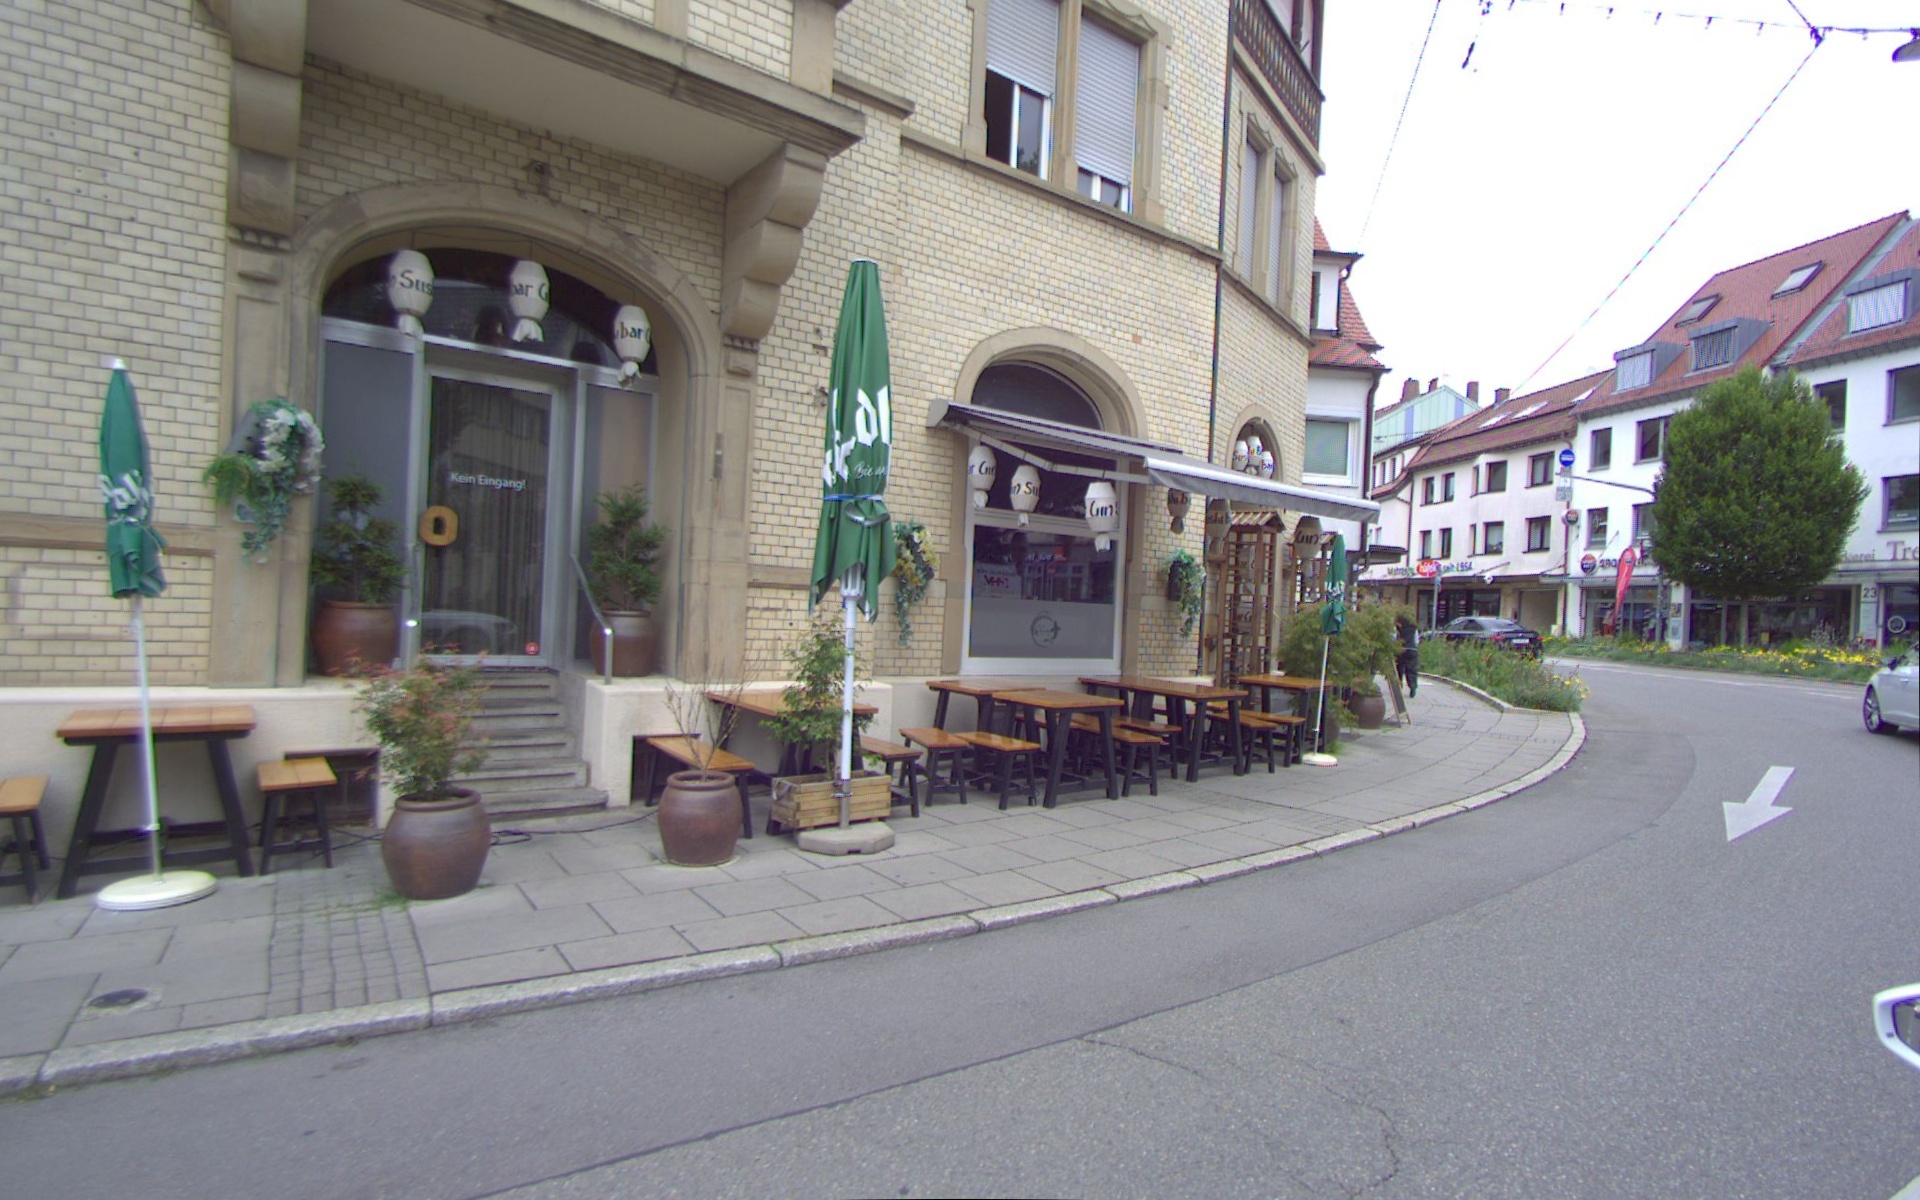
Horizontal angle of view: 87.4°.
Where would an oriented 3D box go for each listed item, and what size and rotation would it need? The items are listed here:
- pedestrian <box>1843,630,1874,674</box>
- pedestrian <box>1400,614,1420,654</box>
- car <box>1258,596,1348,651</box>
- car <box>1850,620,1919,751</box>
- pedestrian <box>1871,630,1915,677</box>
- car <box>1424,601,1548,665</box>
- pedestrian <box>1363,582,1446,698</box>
[{"bbox_3d":[27.618,1.595,30.880,0.493,1.288,0.491,2,0,-11],"label":"pedestrian"},{"bbox_3d":[23.221,1.766,51.807,0.657,2.040,0.634,2,0,-7],"label":"pedestrian"},{"bbox_3d":[12.755,0.833,37.584,1.961,1.879,4.000,2,0,0],"label":"car"},{"bbox_3d":[12.508,1.054,12.144,1.816,1.453,3.992,2,1,30],"label":"car"},{"bbox_3d":[27.758,1.592,29.891,0.751,1.335,0.567,4,0,-11],"label":"pedestrian"},{"bbox_3d":[15.996,0.945,30.814,2.000,1.697,4.376,2,1,9],"label":"car"},{"bbox_3d":[8.183,0.719,18.543,1.083,2.040,1.014,2,1,7],"label":"pedestrian"}]
